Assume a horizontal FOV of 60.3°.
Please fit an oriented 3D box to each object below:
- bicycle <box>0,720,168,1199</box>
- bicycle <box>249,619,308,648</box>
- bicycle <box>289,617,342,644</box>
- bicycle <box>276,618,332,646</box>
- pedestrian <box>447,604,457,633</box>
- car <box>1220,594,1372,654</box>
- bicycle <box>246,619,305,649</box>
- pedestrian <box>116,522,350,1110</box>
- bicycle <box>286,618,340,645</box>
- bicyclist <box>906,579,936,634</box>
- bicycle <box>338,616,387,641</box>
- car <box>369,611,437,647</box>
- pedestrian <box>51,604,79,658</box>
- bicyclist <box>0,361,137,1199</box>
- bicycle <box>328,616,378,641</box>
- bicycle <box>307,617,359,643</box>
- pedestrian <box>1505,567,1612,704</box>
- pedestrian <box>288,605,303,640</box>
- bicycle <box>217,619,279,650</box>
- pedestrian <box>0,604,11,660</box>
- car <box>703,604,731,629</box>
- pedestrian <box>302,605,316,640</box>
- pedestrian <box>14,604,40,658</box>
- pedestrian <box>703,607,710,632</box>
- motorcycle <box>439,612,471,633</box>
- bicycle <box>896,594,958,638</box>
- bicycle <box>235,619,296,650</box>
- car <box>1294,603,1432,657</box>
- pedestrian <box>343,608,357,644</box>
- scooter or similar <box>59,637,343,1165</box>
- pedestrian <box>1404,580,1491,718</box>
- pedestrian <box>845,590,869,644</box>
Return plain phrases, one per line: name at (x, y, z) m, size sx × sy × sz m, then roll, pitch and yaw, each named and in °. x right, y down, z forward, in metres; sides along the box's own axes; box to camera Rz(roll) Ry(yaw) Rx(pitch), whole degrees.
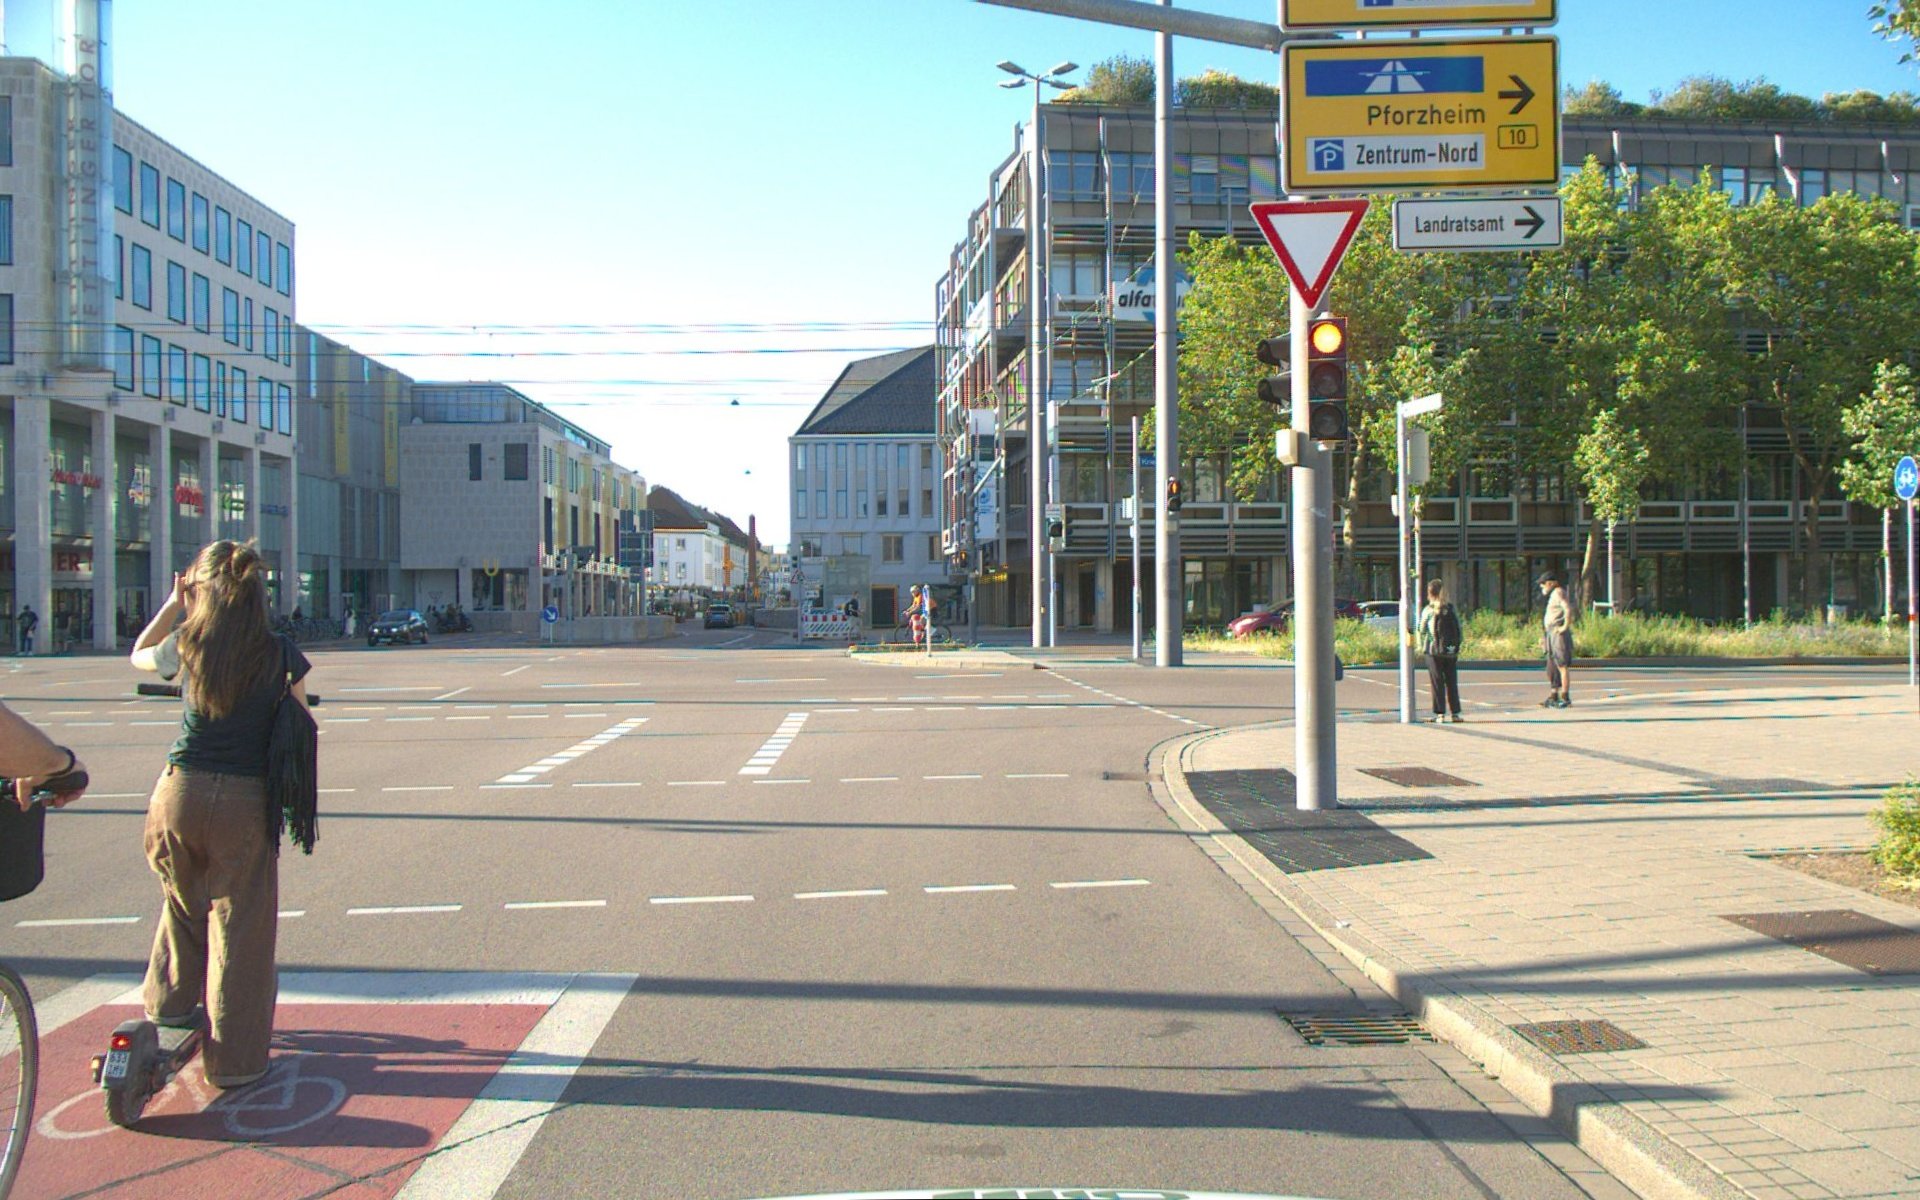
bicycle at (-2.078, 0.866, 2.928) m, size 0.475 × 1.176 × 1.831 m, roll 1°, pitch 0°, yaw -1°
bicycle at (-29.502, 1.440, 71.633) m, size 2.260 × 1.244 × 0.611 m, roll 0°, pitch 0°, yaw -3°
bicycle at (-30.712, 1.450, 78.818) m, size 2.260 × 1.244 × 0.611 m, roll 0°, pitch 0°, yaw -3°
bicycle at (-29.602, 1.452, 74.698) m, size 2.260 × 1.244 × 0.611 m, roll 0°, pitch 0°, yaw -3°
pedestrian at (-30.097, 1.078, 98.078) m, size 0.512 × 1.709 × 0.581 m, roll 1°, pitch 0°, yaw -14°
car at (9.345, 0.659, 46.093) m, size 3.812 × 1.613 × 1.656 m, roll -1°, pitch 0°, yaw -8°
bicycle at (-29.289, 1.440, 70.756) m, size 2.260 × 1.244 × 0.611 m, roll 0°, pitch 0°, yaw -3°
pedestrian at (-2.184, 0.614, 5.028) m, size 0.540 × 1.661 × 0.569 m, roll 1°, pitch -1°, yaw -16°
bicycle at (-30.063, 1.453, 76.848) m, size 2.260 × 1.244 × 0.611 m, roll 0°, pitch 0°, yaw -3°
bicyclist at (-1.077, 0.180, 45.272) m, size 0.700 × 1.462 × 0.494 m, roll 1°, pitch -1°, yaw -18°
bicycle at (-30.814, 1.477, 85.338) m, size 2.260 × 1.244 × 0.611 m, roll 0°, pitch 0°, yaw -3°
car at (-23.376, 1.210, 69.485) m, size 1.597 × 1.365 × 3.998 m, roll -3°, pitch 0°, yaw -3°
pedestrian at (-31.169, 1.072, 57.604) m, size 0.788 × 1.876 × 0.854 m, roll 0°, pitch 0°, yaw -33°
bicyclist at (-1.975, 0.462, 2.853) m, size 0.647 × 1.750 × 0.865 m, roll 1°, pitch -1°, yaw -1°
bicycle at (-30.926, 1.471, 84.268) m, size 2.260 × 1.244 × 0.611 m, roll 0°, pitch 0°, yaw -3°
bicycle at (-30.333, 1.462, 80.051) m, size 2.260 × 1.244 × 0.611 m, roll 0°, pitch 0°, yaw -3°
pedestrian at (7.666, 0.448, 21.201) m, size 0.866 × 1.694 × 0.958 m, roll 1°, pitch -1°, yaw -22°
pedestrian at (-32.887, 1.120, 81.854) m, size 0.560 × 1.709 × 0.614 m, roll 1°, pitch 0°, yaw -10°
bicycle at (-29.332, 1.427, 68.117) m, size 2.260 × 1.244 × 0.611 m, roll 0°, pitch 0°, yaw -3°
pedestrian at (-33.074, 1.101, 56.837) m, size 0.706 × 1.918 × 0.780 m, roll 1°, pitch -1°, yaw -28°
car at (-15.824, 1.062, 107.946) m, size 1.705 × 1.558 × 3.849 m, roll 1°, pitch 0°, yaw -8°
pedestrian at (-32.312, 1.112, 82.076) m, size 0.544 × 1.709 × 0.606 m, roll 1°, pitch 0°, yaw -11°
pedestrian at (-32.860, 1.081, 58.263) m, size 0.787 × 1.876 × 0.856 m, roll 0°, pitch 0°, yaw -29°
pedestrian at (-17.918, 1.365, 116.883) m, size 0.511 × 1.709 × 0.582 m, roll 1°, pitch 0°, yaw -8°
motorcycle at (-29.759, 1.332, 97.476) m, size 1.775 × 1.228 × 0.509 m, roll 1°, pitch 0°, yaw -16°
bicycle at (-0.903, 0.444, 45.329) m, size 1.619 × 1.175 × 0.494 m, roll 1°, pitch -1°, yaw -18°
bicycle at (-29.124, 1.437, 69.402) m, size 2.260 × 1.244 × 0.611 m, roll 0°, pitch 0°, yaw -3°
car at (12.523, 0.930, 51.505) m, size 3.825 × 1.613 × 1.656 m, roll 1°, pitch 0°, yaw -8°
pedestrian at (-29.770, 1.245, 80.713) m, size 0.639 × 1.749 × 0.447 m, roll 0°, pitch 0°, yaw -25°
scooter or similar at (-2.175, 0.783, 4.861) m, size 0.538 × 1.316 × 1.189 m, roll 1°, pitch 0°, yaw -15°
pedestrian at (5.518, 0.549, 18.750) m, size 0.772 × 1.518 × 0.644 m, roll 1°, pitch -1°, yaw -1°
pedestrian at (-3.742, 0.624, 60.089) m, size 0.628 × 1.923 × 0.791 m, roll 1°, pitch -1°, yaw 14°
